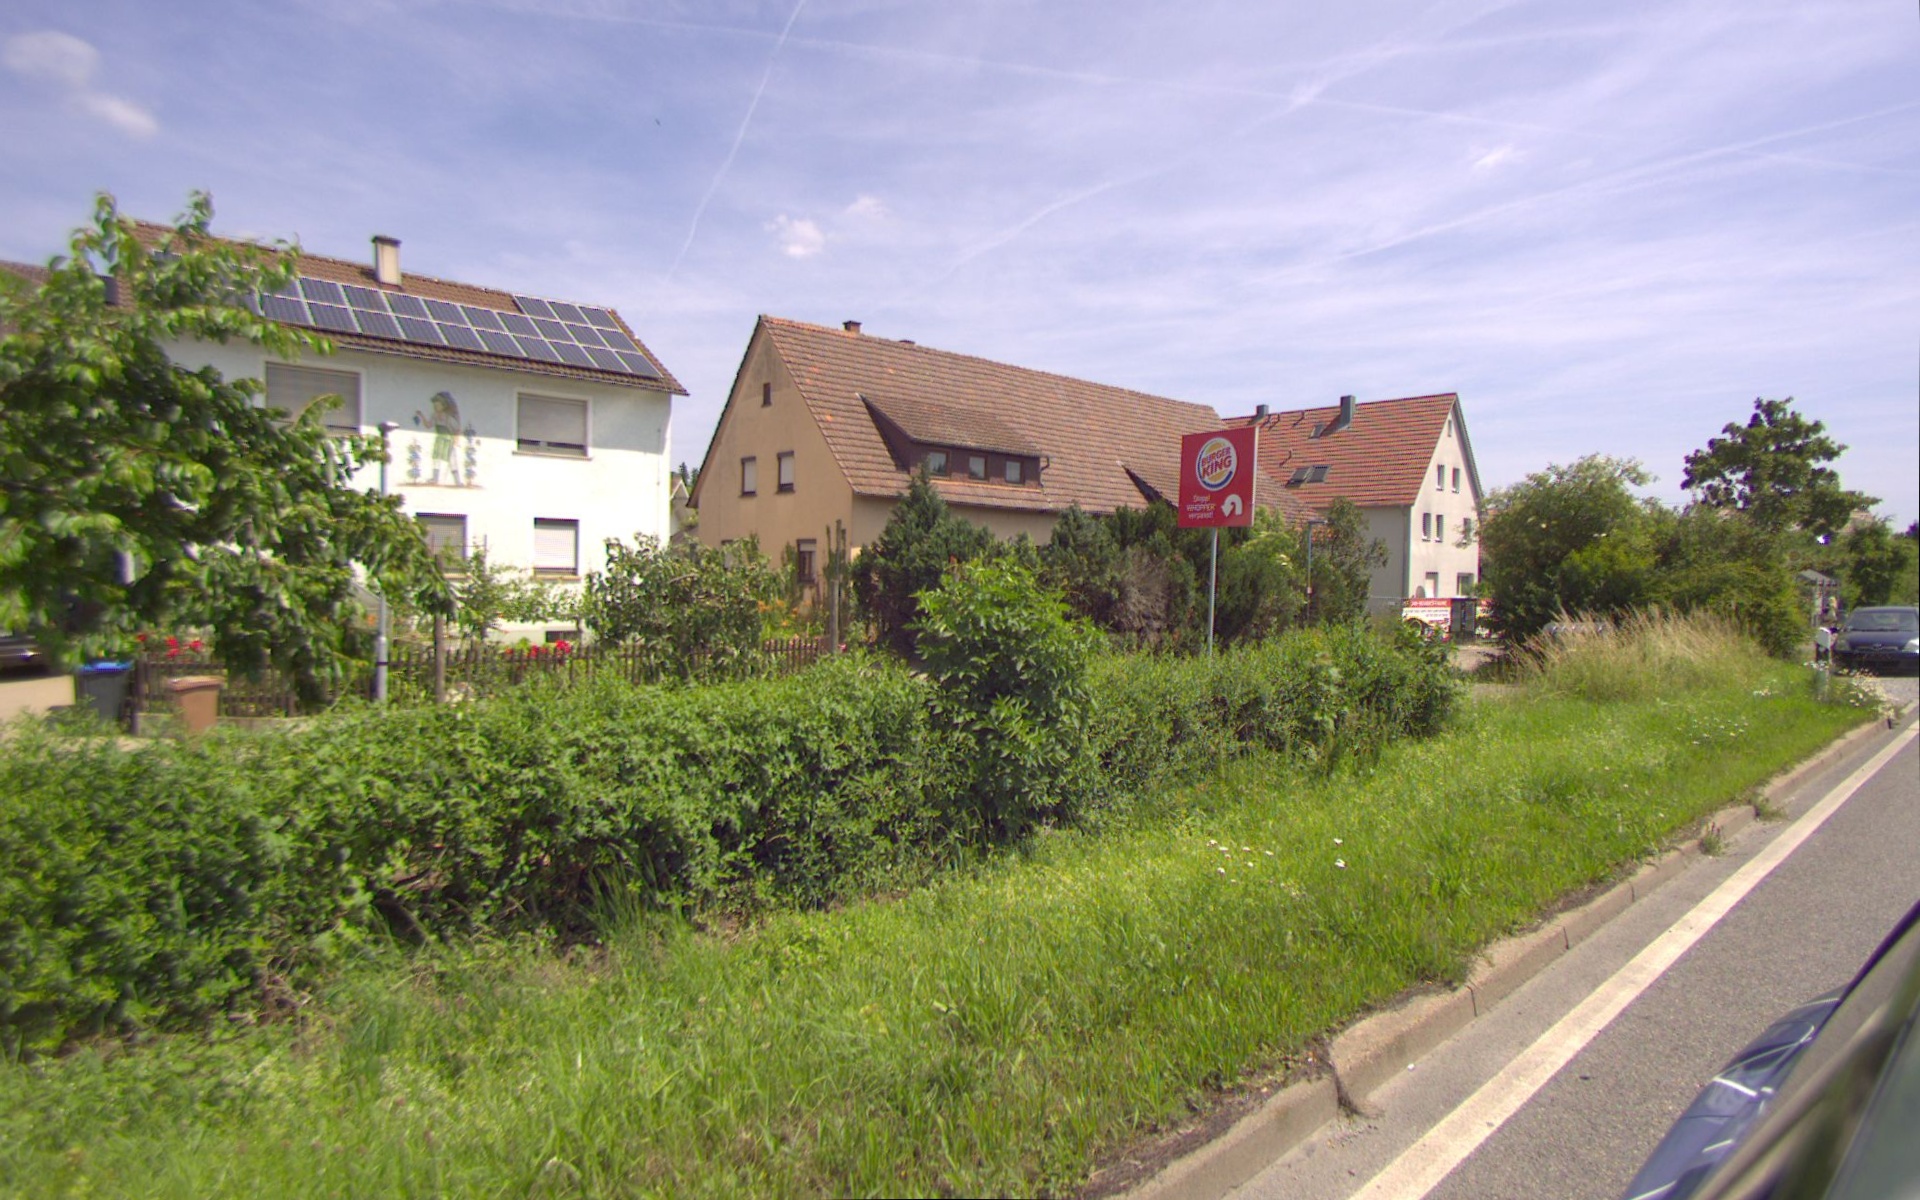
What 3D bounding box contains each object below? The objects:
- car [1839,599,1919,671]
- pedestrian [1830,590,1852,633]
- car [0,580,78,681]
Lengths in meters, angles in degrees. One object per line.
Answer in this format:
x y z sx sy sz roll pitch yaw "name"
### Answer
21.098 0.751 22.712 3.492 1.504 1.633 0 -2 -43 "car"
32.636 0.419 37.485 0.517 1.568 0.557 0 1 30 "pedestrian"
-18.282 0.519 19.390 1.810 1.714 3.959 -1 2 -37 "car"
